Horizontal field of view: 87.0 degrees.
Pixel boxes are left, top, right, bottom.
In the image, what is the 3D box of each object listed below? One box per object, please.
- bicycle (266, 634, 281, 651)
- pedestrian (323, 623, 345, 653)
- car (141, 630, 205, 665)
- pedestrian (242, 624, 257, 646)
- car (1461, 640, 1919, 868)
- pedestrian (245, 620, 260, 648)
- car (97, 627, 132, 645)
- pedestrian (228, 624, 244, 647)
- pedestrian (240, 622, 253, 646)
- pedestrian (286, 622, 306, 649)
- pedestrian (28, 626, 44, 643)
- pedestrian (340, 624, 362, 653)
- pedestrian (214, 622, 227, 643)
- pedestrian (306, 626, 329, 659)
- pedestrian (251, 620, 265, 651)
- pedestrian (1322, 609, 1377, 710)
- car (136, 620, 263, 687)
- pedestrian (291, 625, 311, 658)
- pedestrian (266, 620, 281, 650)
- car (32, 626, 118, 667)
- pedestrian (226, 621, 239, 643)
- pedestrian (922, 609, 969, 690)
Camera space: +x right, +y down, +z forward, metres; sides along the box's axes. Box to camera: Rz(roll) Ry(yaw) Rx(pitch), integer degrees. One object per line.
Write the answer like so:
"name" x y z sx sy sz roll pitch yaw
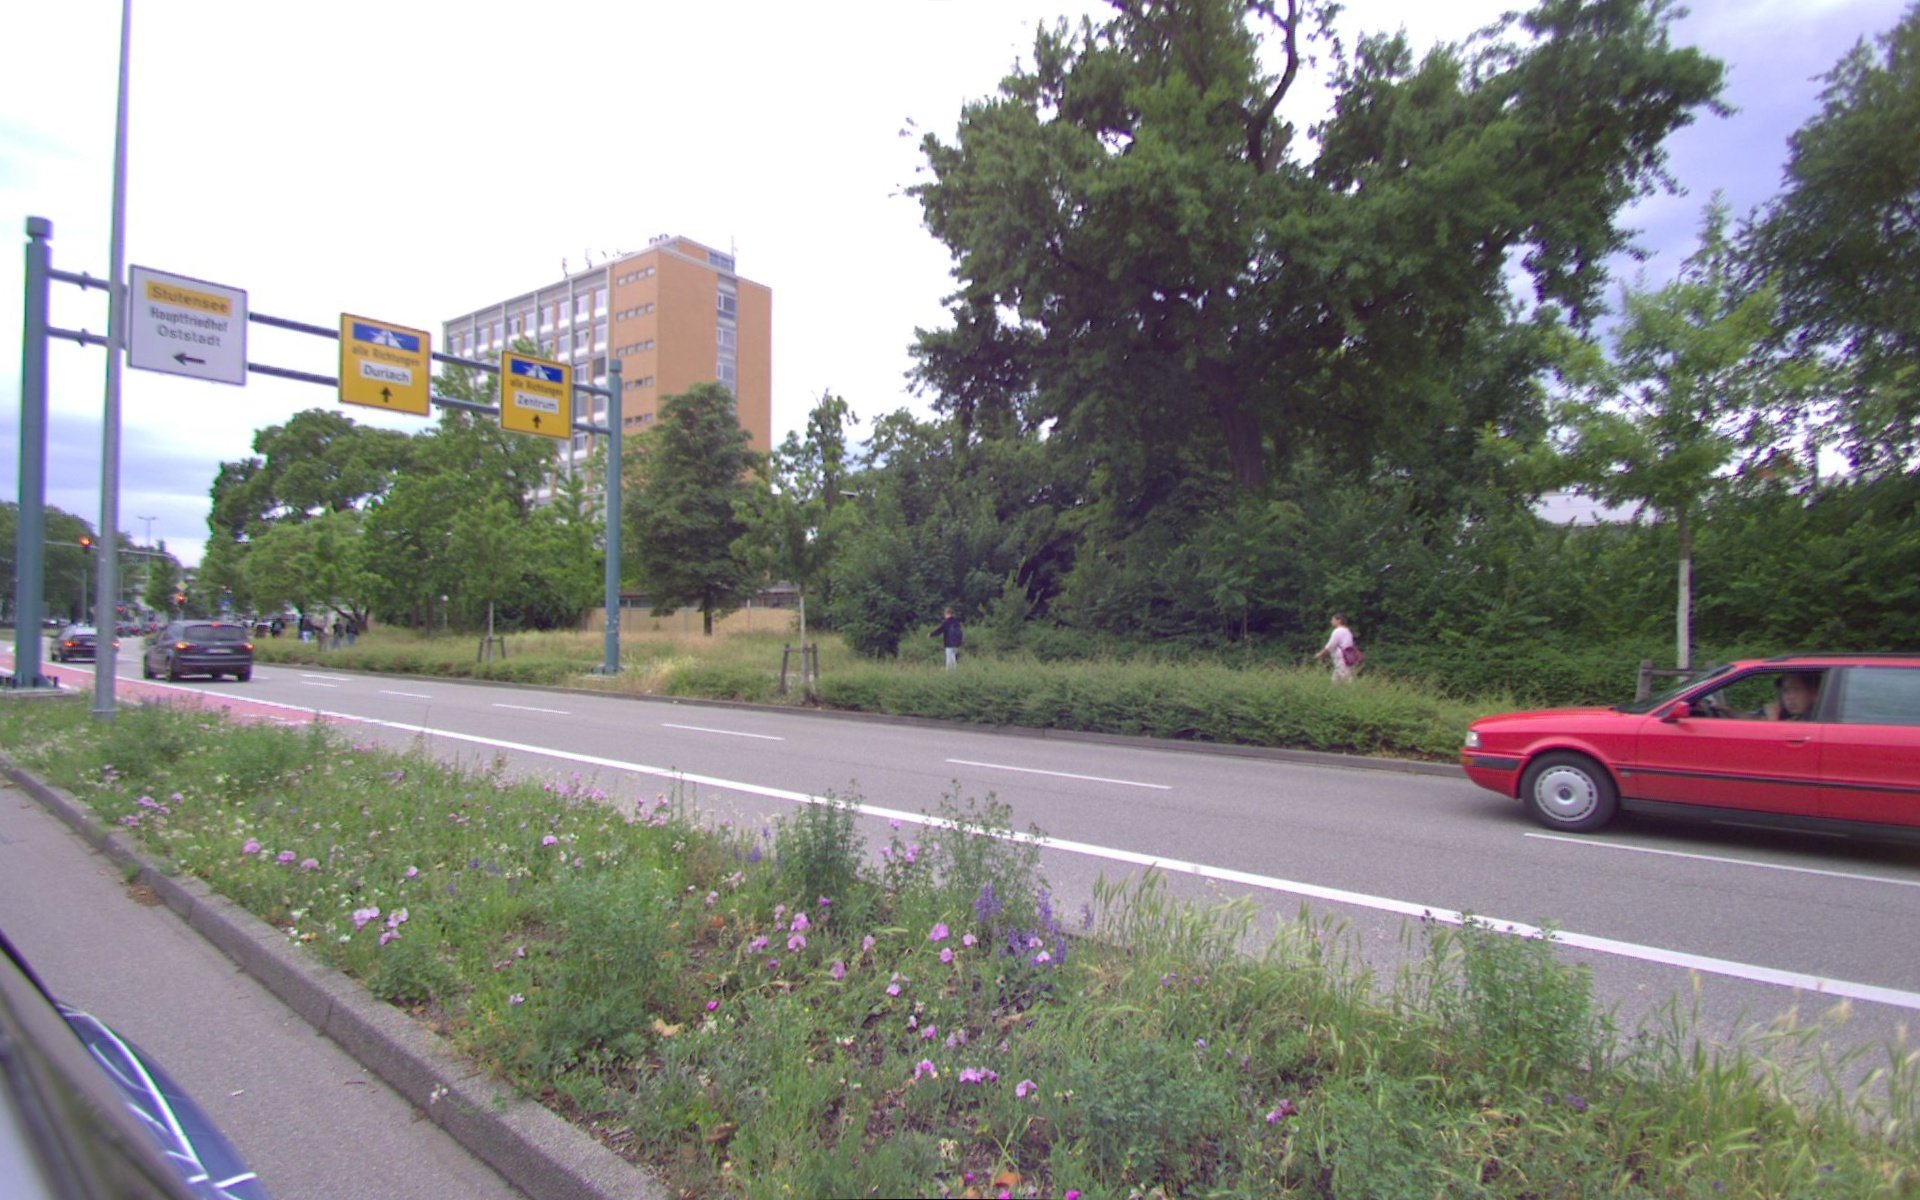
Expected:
"bicycle" -37.902 2.338 55.861 0.652 0.894 1.719 3 -3 -34
"pedestrian" -29.001 1.775 46.901 0.711 1.368 0.638 -2 -4 40
"car" -33.350 2.003 42.863 3.809 1.391 1.589 -2 -4 44
"pedestrian" -47.982 2.370 68.367 0.762 1.491 0.628 -2 -4 44
"car" 6.226 1.022 7.413 4.292 1.429 1.696 -2 -3 41
"pedestrian" -43.762 2.119 62.583 0.613 1.708 0.749 2 -3 -30
"car" -85.831 3.634 102.773 1.785 1.680 3.962 2 -2 -27
"pedestrian" -48.504 2.368 67.812 0.813 1.491 0.720 -2 -4 44
"pedestrian" -53.951 2.596 76.499 0.762 1.815 0.630 -2 -3 44
"pedestrian" -40.535 2.187 61.789 0.823 1.625 0.631 -2 -1 19
"pedestrian" -108.363 4.043 118.692 0.972 2.029 0.910 2 -3 -18
"pedestrian" -28.527 1.801 47.387 0.680 1.373 0.638 -2 -4 39
"pedestrian" -57.991 2.559 79.348 0.943 1.683 0.698 -2 -2 44
"pedestrian" -33.100 2.167 52.126 0.766 1.685 0.700 -1 -4 35
"pedestrian" -38.369 1.944 55.330 0.567 1.621 0.618 3 -4 -33
"pedestrian" 6.595 1.000 17.129 0.671 1.648 0.693 -2 -4 41
"car" -21.026 1.431 27.912 4.397 1.677 1.900 -1 -3 41
"pedestrian" -33.620 2.135 51.602 0.719 1.673 0.580 -1 -4 35
"pedestrian" -37.897 1.937 55.882 0.652 1.644 0.765 3 -4 -34
"car" -35.004 1.814 39.988 4.787 1.471 1.746 -1 -4 40
"pedestrian" -57.435 2.527 79.875 0.890 1.683 0.698 -2 -1 44
"pedestrian" -0.322 1.090 22.236 0.818 1.742 0.613 -2 -4 41
